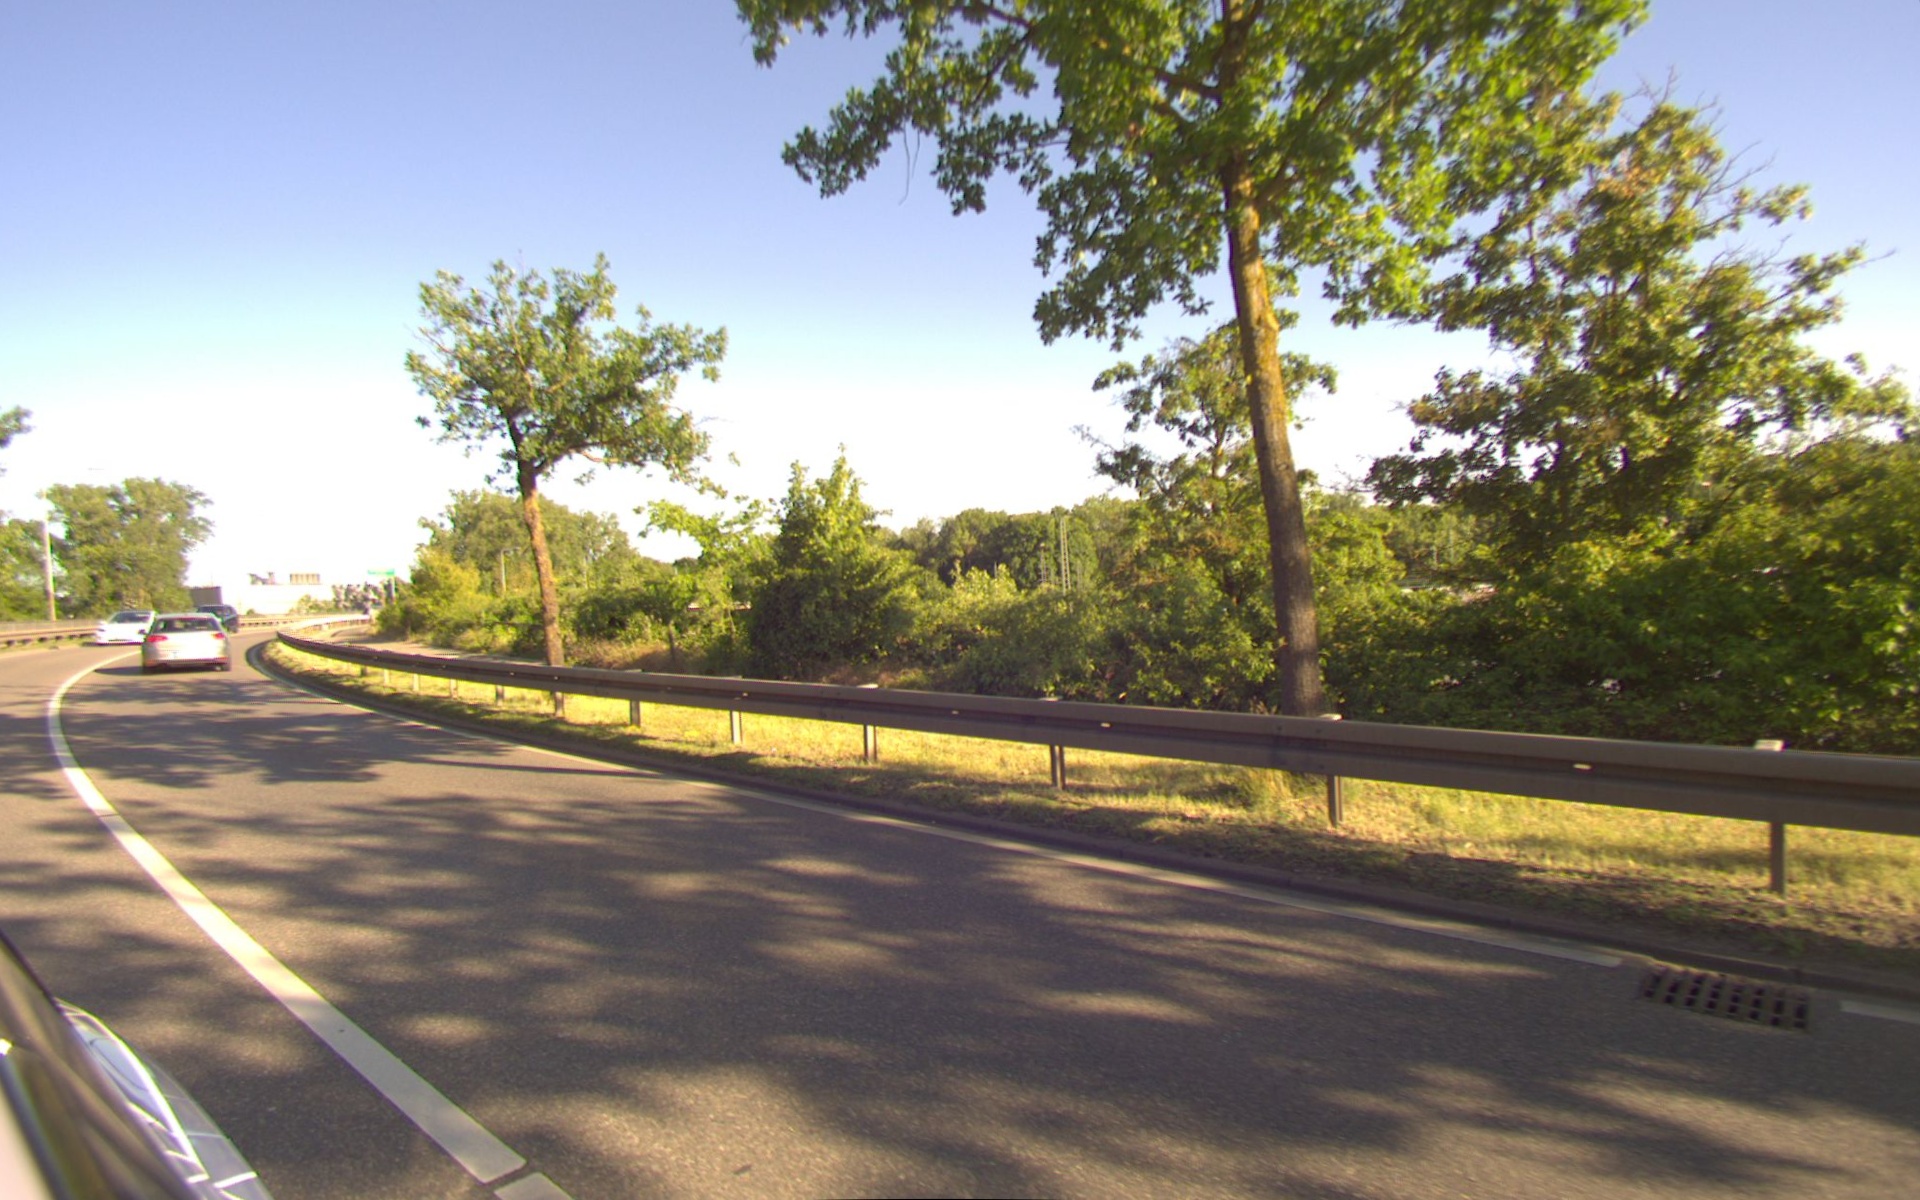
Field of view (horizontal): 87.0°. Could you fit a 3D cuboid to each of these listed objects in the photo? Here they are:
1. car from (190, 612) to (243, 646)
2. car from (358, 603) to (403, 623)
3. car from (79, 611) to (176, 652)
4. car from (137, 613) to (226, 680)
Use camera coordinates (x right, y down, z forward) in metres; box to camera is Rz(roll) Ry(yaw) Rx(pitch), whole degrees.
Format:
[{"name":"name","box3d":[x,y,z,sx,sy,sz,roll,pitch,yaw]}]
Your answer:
[{"name":"car","box3d":[-41.488,1.590,56.527,1.655,1.717,3.617,-2,1,-24]},{"name":"car","box3d":[-46.087,1.021,80.569,1.658,1.461,4.007,-1,1,-7]},{"name":"car","box3d":[-35.290,1.294,43.039,2.114,1.579,4.212,-1,0,-24]},{"name":"car","box3d":[-19.527,1.098,25.330,1.674,1.530,3.988,0,0,-39]}]
